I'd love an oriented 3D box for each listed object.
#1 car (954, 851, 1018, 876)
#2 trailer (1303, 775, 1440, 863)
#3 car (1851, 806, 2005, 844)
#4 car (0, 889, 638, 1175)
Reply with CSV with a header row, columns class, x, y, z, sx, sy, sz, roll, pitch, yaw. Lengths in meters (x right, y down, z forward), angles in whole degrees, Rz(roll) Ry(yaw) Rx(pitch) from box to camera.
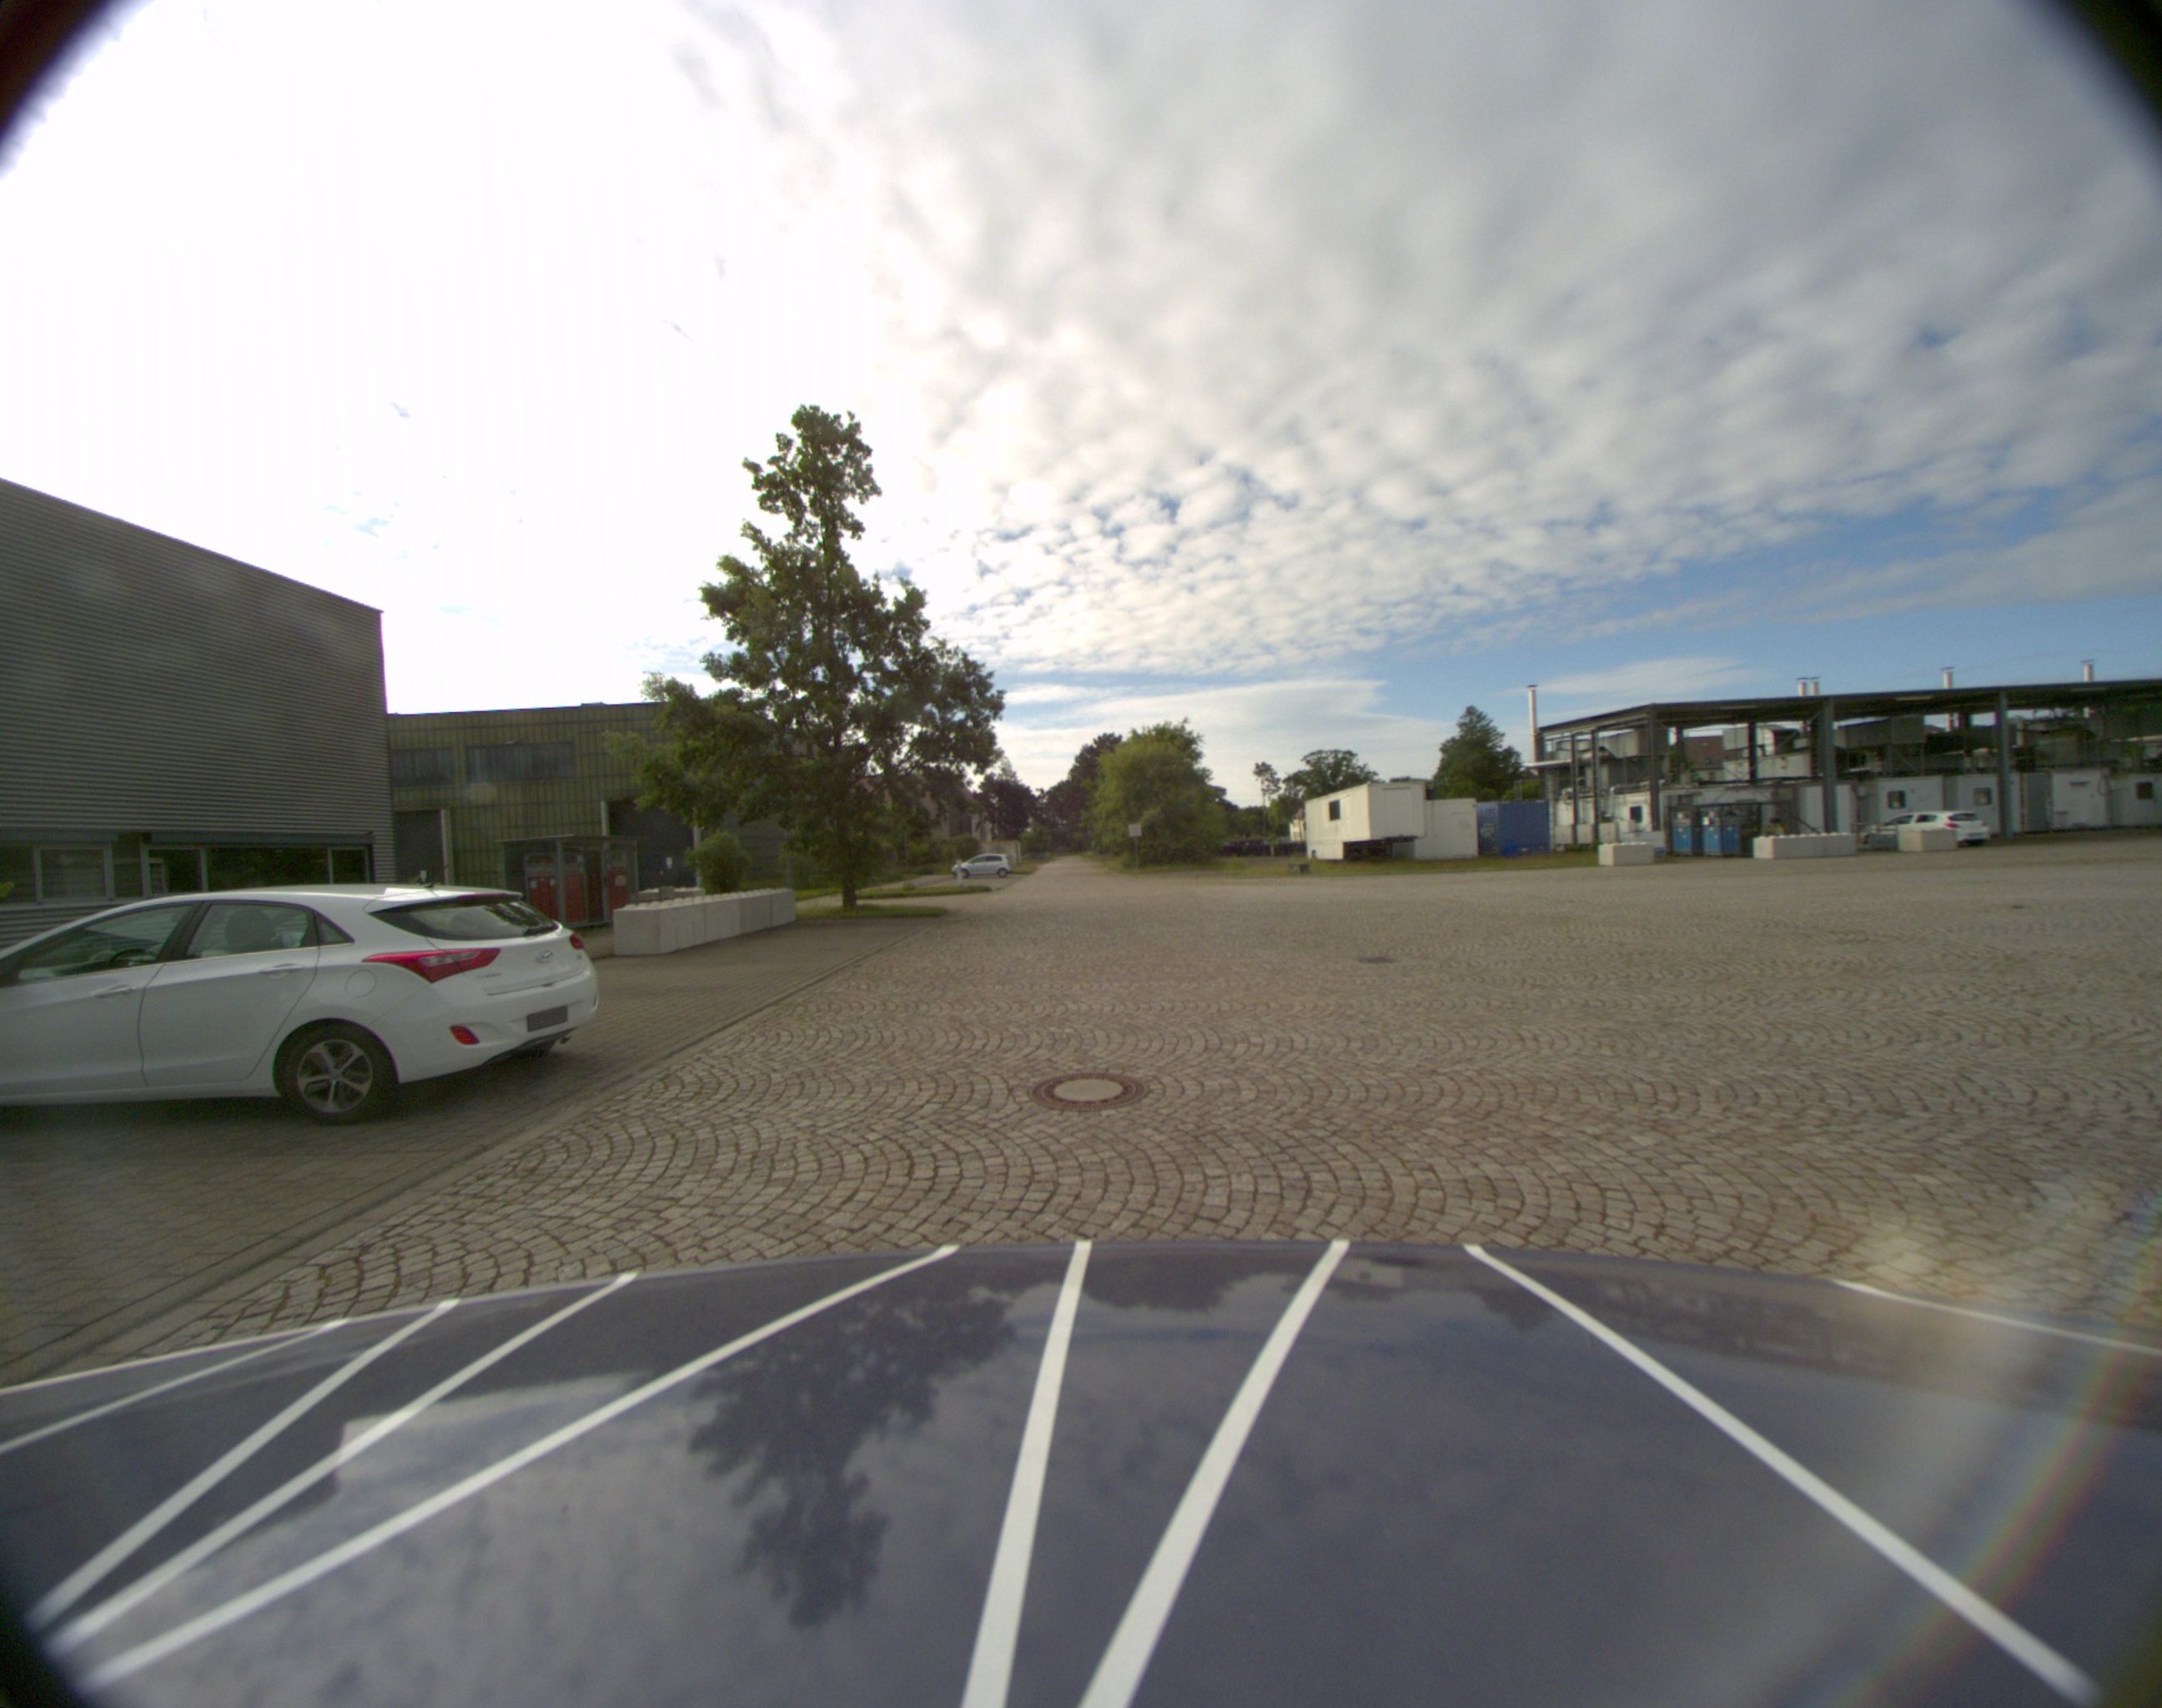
class,x,y,z,sx,sy,sz,roll,pitch,yaw
car,-6.388,0.628,51.559,4.132,1.615,1.938,-1,1,-3
trailer,14.062,-1.543,38.003,2.876,3.641,10.777,-3,1,2
car,35.452,-1.169,31.982,1.933,1.464,3.998,-1,1,-3
car,-5.714,1.111,5.370,3.986,1.458,1.882,-2,1,-1
